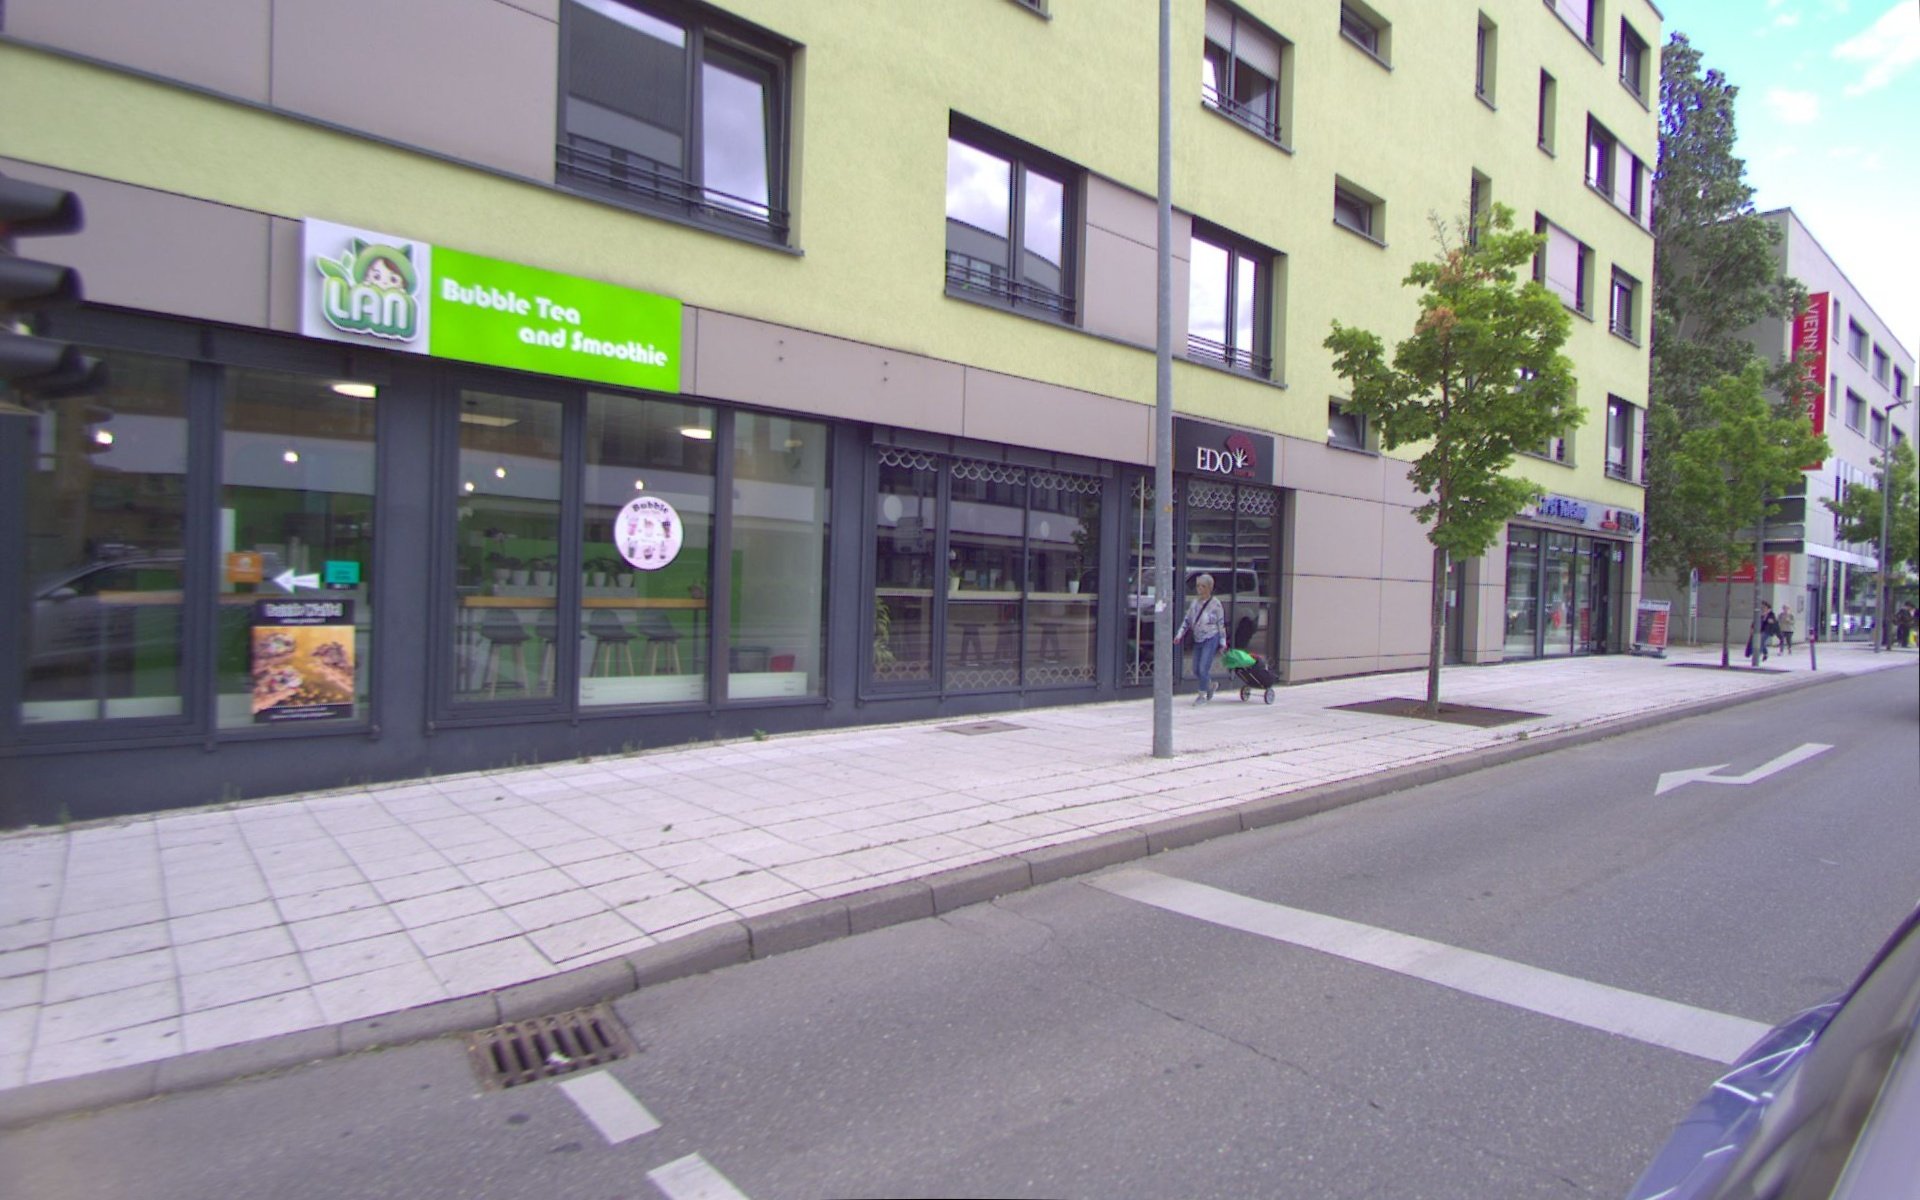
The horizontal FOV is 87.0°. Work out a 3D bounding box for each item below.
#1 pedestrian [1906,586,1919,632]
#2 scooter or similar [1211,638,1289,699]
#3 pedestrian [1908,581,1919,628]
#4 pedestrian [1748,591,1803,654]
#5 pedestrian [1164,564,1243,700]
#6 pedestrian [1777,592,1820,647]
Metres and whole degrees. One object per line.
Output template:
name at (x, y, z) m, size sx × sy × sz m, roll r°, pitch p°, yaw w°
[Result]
pedestrian at (35.972, 0.345, 37.808) m, size 0.719 × 1.704 × 0.723 m, roll 0°, pitch 2°, yaw -35°
scooter or similar at (3.699, 0.861, 12.896) m, size 0.810 × 0.681 × 0.593 m, roll 0°, pitch 2°, yaw -41°
pedestrian at (37.019, 0.189, 38.942) m, size 0.840 × 1.791 × 0.581 m, roll 0°, pitch 2°, yaw -35°
pedestrian at (21.416, 0.578, 26.571) m, size 0.998 × 1.603 × 0.949 m, roll 0°, pitch 1°, yaw -41°
pedestrian at (3.026, 0.377, 12.609) m, size 0.593 × 1.613 × 0.697 m, roll 0°, pitch 2°, yaw -41°
pedestrian at (25.328, 0.572, 30.570) m, size 0.790 × 1.603 × 0.870 m, roll 0°, pitch 1°, yaw -41°
